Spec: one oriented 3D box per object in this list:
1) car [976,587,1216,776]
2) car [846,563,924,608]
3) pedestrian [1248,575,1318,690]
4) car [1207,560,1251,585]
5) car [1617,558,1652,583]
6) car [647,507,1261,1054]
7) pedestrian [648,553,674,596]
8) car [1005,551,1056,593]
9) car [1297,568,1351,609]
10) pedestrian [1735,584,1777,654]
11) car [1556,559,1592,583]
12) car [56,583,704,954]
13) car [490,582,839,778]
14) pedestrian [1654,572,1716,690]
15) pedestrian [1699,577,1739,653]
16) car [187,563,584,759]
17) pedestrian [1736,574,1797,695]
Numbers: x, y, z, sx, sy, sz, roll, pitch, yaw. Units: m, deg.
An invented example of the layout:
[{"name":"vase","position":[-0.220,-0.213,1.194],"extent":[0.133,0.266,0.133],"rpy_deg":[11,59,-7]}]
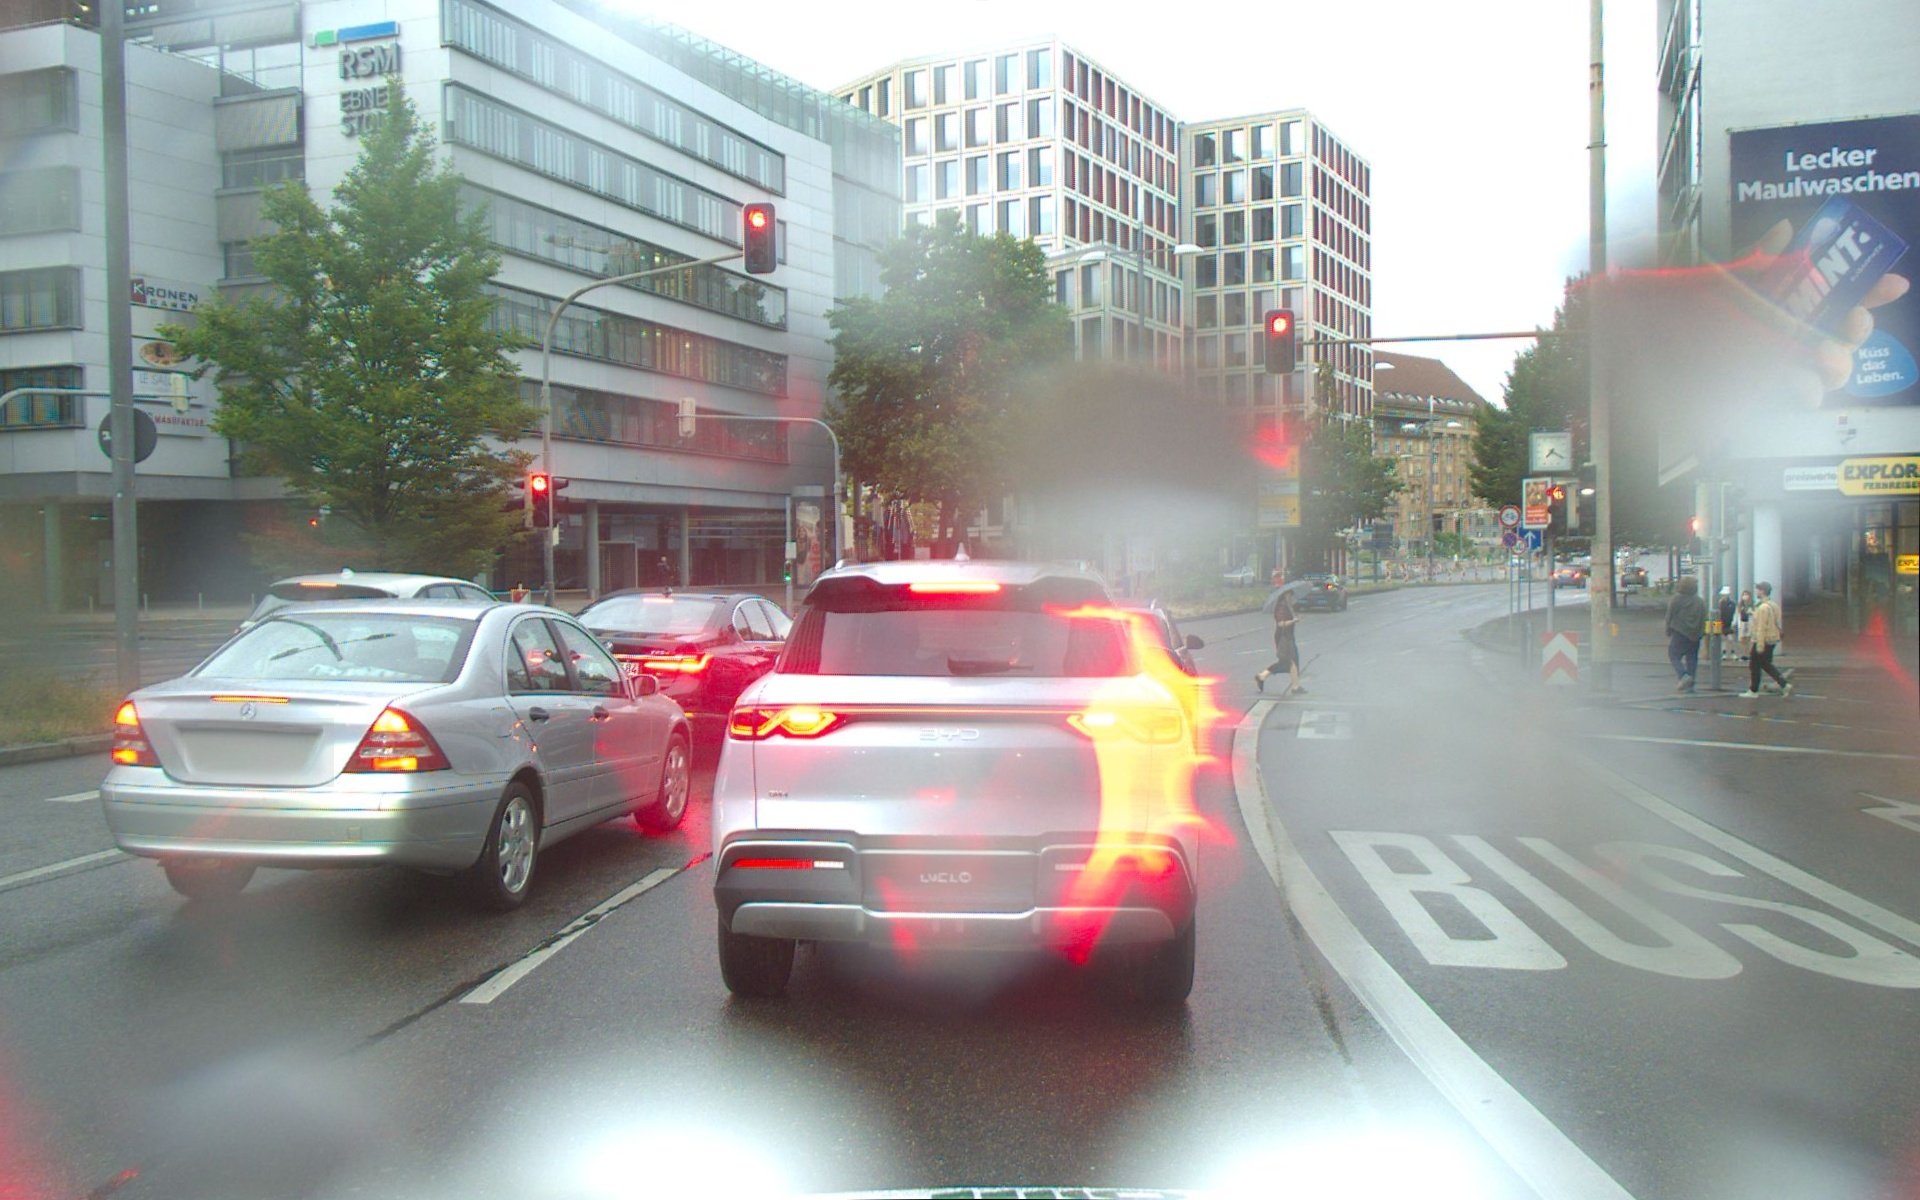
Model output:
[{"name":"car","position":[1.439,0.661,15.899],"extent":[1.913,1.557,4.004],"rpy_deg":[0,0,10]},{"name":"car","position":[-3.096,-0.645,69.310],"extent":[1.952,1.735,4.002],"rpy_deg":[1,2,19]},{"name":"pedestrian","position":[5.059,0.499,25.917],"extent":[0.904,1.768,0.729],"rpy_deg":[0,0,-6]},{"name":"car","position":[19.508,-2.021,119.849],"extent":[1.954,1.735,4.305],"rpy_deg":[1,2,26]},{"name":"car","position":[50.958,-2.207,124.920],"extent":[2.007,1.796,4.351],"rpy_deg":[2,1,27]},{"name":"car","position":[0.035,0.551,7.553],"extent":[1.952,1.739,4.484],"rpy_deg":[-1,1,1]},{"name":"pedestrian","position":[-12.391,-1.059,68.561],"extent":[0.712,1.757,0.925],"rpy_deg":[0,0,21]},{"name":"car","position":[3.872,-1.498,90.497],"extent":[1.700,2.199,4.496],"rpy_deg":[1,0,17]},{"name":"car","position":[14.943,-0.489,67.762],"extent":[1.951,1.579,4.003],"rpy_deg":[1,1,15]},{"name":"pedestrian","position":[17.845,0.426,37.100],"extent":[0.712,1.551,0.760],"rpy_deg":[0,-1,15]},{"name":"car","position":[42.380,-1.981,114.127],"extent":[1.873,1.536,4.352],"rpy_deg":[2,1,27]},{"name":"car","position":[-2.737,0.667,8.926],"extent":[1.646,1.512,4.199],"rpy_deg":[0,1,6]},{"name":"car","position":[-2.550,0.618,15.339],"extent":[1.913,1.557,4.004],"rpy_deg":[0,0,10]},{"name":"pedestrian","position":[11.449,0.480,26.133],"extent":[0.795,1.830,0.711],"rpy_deg":[0,0,15]},{"name":"pedestrian","position":[17.210,0.344,37.509],"extent":[0.712,1.698,0.691],"rpy_deg":[0,-1,15]},{"name":"car","position":[-5.317,0.485,15.931],"extent":[1.844,1.624,4.004],"rpy_deg":[0,1,11]},{"name":"pedestrian","position":[12.395,0.517,25.436],"extent":[0.712,1.830,0.740],"rpy_deg":[0,0,15]}]
